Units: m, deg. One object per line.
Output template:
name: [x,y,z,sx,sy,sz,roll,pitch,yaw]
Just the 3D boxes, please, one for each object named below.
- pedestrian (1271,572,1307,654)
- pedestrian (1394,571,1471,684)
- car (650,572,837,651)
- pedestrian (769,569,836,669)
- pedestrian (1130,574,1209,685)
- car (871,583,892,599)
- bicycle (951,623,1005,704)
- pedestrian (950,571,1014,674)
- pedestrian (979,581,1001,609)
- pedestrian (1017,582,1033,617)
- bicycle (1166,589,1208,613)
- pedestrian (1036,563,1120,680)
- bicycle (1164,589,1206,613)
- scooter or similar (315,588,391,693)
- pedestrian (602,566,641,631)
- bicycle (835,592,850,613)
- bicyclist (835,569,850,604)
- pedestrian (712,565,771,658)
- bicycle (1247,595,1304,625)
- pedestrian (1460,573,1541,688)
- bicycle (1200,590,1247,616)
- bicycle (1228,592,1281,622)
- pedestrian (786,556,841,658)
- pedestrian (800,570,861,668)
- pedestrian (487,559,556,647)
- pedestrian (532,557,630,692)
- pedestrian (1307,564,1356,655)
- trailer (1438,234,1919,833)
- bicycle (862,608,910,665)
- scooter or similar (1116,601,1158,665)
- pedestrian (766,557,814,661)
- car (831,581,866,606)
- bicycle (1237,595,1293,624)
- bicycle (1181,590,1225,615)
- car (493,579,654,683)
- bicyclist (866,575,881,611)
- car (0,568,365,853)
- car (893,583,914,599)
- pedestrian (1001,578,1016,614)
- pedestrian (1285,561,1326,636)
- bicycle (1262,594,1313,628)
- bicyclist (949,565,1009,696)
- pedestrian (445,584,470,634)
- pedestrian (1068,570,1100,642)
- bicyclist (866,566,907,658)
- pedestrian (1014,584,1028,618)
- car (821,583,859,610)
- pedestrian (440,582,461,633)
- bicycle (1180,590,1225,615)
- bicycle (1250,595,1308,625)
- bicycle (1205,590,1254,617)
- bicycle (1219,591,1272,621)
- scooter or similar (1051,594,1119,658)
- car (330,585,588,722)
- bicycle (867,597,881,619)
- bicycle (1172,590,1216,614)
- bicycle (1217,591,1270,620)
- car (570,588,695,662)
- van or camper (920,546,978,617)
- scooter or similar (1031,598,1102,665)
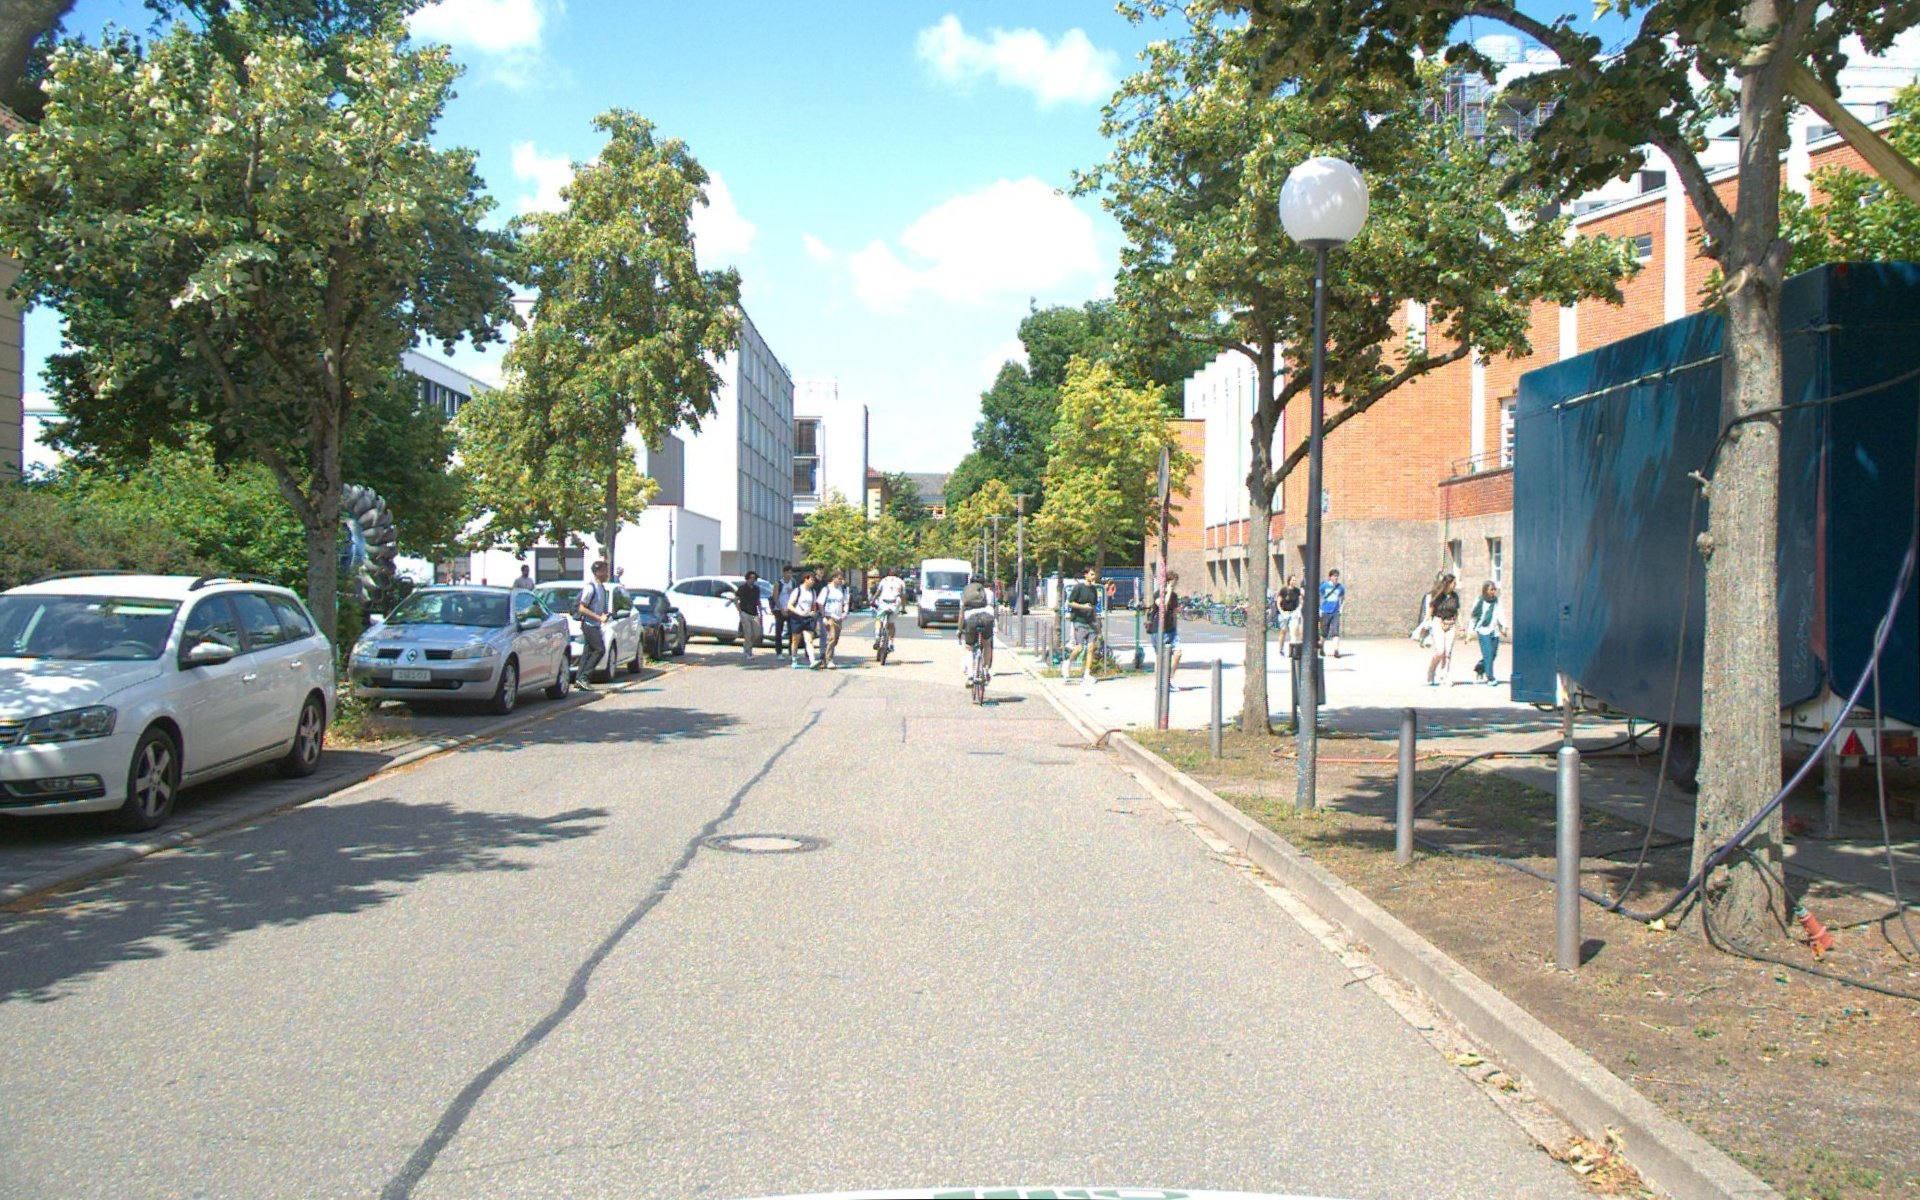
pedestrian: [6.743,0.260,33.918,0.492,1.659,0.570,-2,1,-11]
pedestrian: [7.204,0.407,25.248,0.858,1.666,0.949,-2,1,-1]
car: [-5.213,0.259,39.551,4.437,1.647,1.914,2,-1,40]
pedestrian: [-2.851,0.333,29.910,0.964,1.769,0.698,2,1,36]
pedestrian: [3.159,0.426,24.915,0.844,1.623,0.817,-2,1,-44]
car: [-7.756,-0.908,163.810,1.758,1.556,4.002,0,1,3]
bicycle: [0.232,0.857,22.888,0.692,1.010,1.910,1,1,-1]
pedestrian: [0.391,0.388,29.636,0.695,1.749,0.982,-2,4,-35]
pedestrian: [2.302,-0.411,126.606,1.470,2.030,1.645,-3,1,-3]
pedestrian: [3.492,-0.036,88.766,0.774,1.892,1.026,0,0,0]
bicycle: [10.021,0.055,72.995,1.773,1.002,0.560,-2,0,-2]
pedestrian: [1.954,0.340,27.417,1.097,1.892,0.849,1,1,43]
bicycle: [10.073,0.043,73.960,1.773,1.002,0.560,-2,0,-2]
scooter or similar: [-8.099,0.521,22.102,0.513,1.310,1.229,-3,1,-1]
pedestrian: [-9.530,-0.038,46.632,0.962,1.816,0.668,0,-1,-3]
bicycle: [-5.520,0.106,77.677,0.663,0.981,2.002,0,0,-3]
bicyclist: [-5.544,-0.641,77.971,0.630,1.629,0.908,-1,0,-3]
pedestrian: [-4.335,0.227,32.882,0.785,1.803,0.854,2,0,22]
bicycle: [10.473,0.327,54.900,1.773,0.928,0.560,-1,0,-2]
pedestrian: [8.190,0.452,25.105,0.858,1.666,0.948,-2,2,-3]
bicycle: [10.613,0.122,66.601,1.773,1.002,0.560,-2,0,-2]
bicycle: [10.371,0.240,58.260,1.773,1.002,0.560,-2,0,-2]
pedestrian: [-2.970,0.136,33.610,0.809,2.015,0.691,2,0,22]
pedestrian: [-2.377,0.326,30.380,0.891,1.769,0.676,0,1,37]
pedestrian: [-10.179,0.067,38.387,1.009,1.937,1.161,6,-4,-41]
pedestrian: [-5.113,0.333,22.365,1.083,1.746,0.710,3,-1,-2]
pedestrian: [7.666,0.181,34.146,0.695,1.818,0.751,-2,2,-11]
trailer: [5.752,-0.397,11.778,2.637,3.105,6.255,-1,0,-2]
bicycle: [-1.437,0.699,32.579,0.792,1.019,2.124,1,1,1]
scooter or similar: [3.389,0.619,31.566,0.635,1.180,1.266,0,0,14]
pedestrian: [-3.348,0.183,32.531,0.610,2.015,0.819,0,-1,-32]
car: [-7.012,-0.409,104.576,1.758,1.556,4.002,0,1,3]
bicycle: [10.369,0.316,56.301,1.773,0.928,0.560,-2,0,-2]
bicycle: [10.285,0.122,69.961,1.773,1.002,0.560,-2,0,-2]
car: [-5.849,0.417,25.440,1.628,1.436,3.806,1,1,-1]
bicyclist: [-4.135,-0.335,78.837,0.654,1.711,0.992,-1,0,-5]
car: [-5.543,0.557,10.982,1.691,1.482,4.581,2,0,-3]
car: [-5.576,-0.894,163.068,1.758,1.556,4.002,0,1,3]
pedestrian: [2.621,-0.230,88.807,0.774,1.892,1.243,0,0,0]
pedestrian: [8.820,-0.041,42.225,0.774,1.892,1.116,0,0,-2]
bicycle: [10.311,0.338,52.107,1.504,1.051,0.560,-1,0,-2]
bicyclist: [0.254,0.398,22.617,0.703,1.690,1.095,3,3,-1]
pedestrian: [-18.110,0.326,59.653,0.679,1.780,0.636,1,0,-1]
pedestrian: [3.077,0.140,41.095,0.688,1.724,0.962,0,2,-1]
bicyclist: [-1.446,0.232,32.490,0.755,1.787,0.848,0,0,1]
pedestrian: [3.362,0.045,91.294,0.774,1.892,1.026,0,0,0]
car: [-7.021,-0.220,97.162,1.758,1.556,4.002,0,1,3]
pedestrian: [-18.128,0.266,58.886,0.540,1.795,0.586,1,0,-1]
bicycle: [10.138,0.105,69.126,1.773,1.002,0.560,-2,0,-2]
bicycle: [10.414,0.336,54.043,1.773,0.928,0.560,-1,0,-2]
bicycle: [10.536,0.150,64.648,1.773,1.002,0.560,-2,0,-2]
bicycle: [10.258,0.217,59.388,1.773,1.002,0.560,-2,0,-2]
scooter or similar: [2.559,0.517,33.913,1.237,1.287,0.638,0,0,31]
car: [-5.698,0.538,19.365,1.690,1.367,4.165,2,1,0]
bicycle: [-4.095,0.363,78.672,0.663,0.981,2.002,0,2,-4]
bicycle: [10.002,0.087,70.657,1.773,1.002,0.560,-2,0,-2]
bicycle: [10.275,0.206,59.950,1.773,1.002,0.560,-2,0,-2]
car: [-6.226,0.436,31.778,1.611,1.323,3.928,0,1,0]
van or camper: [-0.369,-0.655,60.669,1.952,2.488,4.570,-1,0,2]
scooter or similar: [2.078,0.606,32.331,1.237,1.287,0.649,0,0,31]
